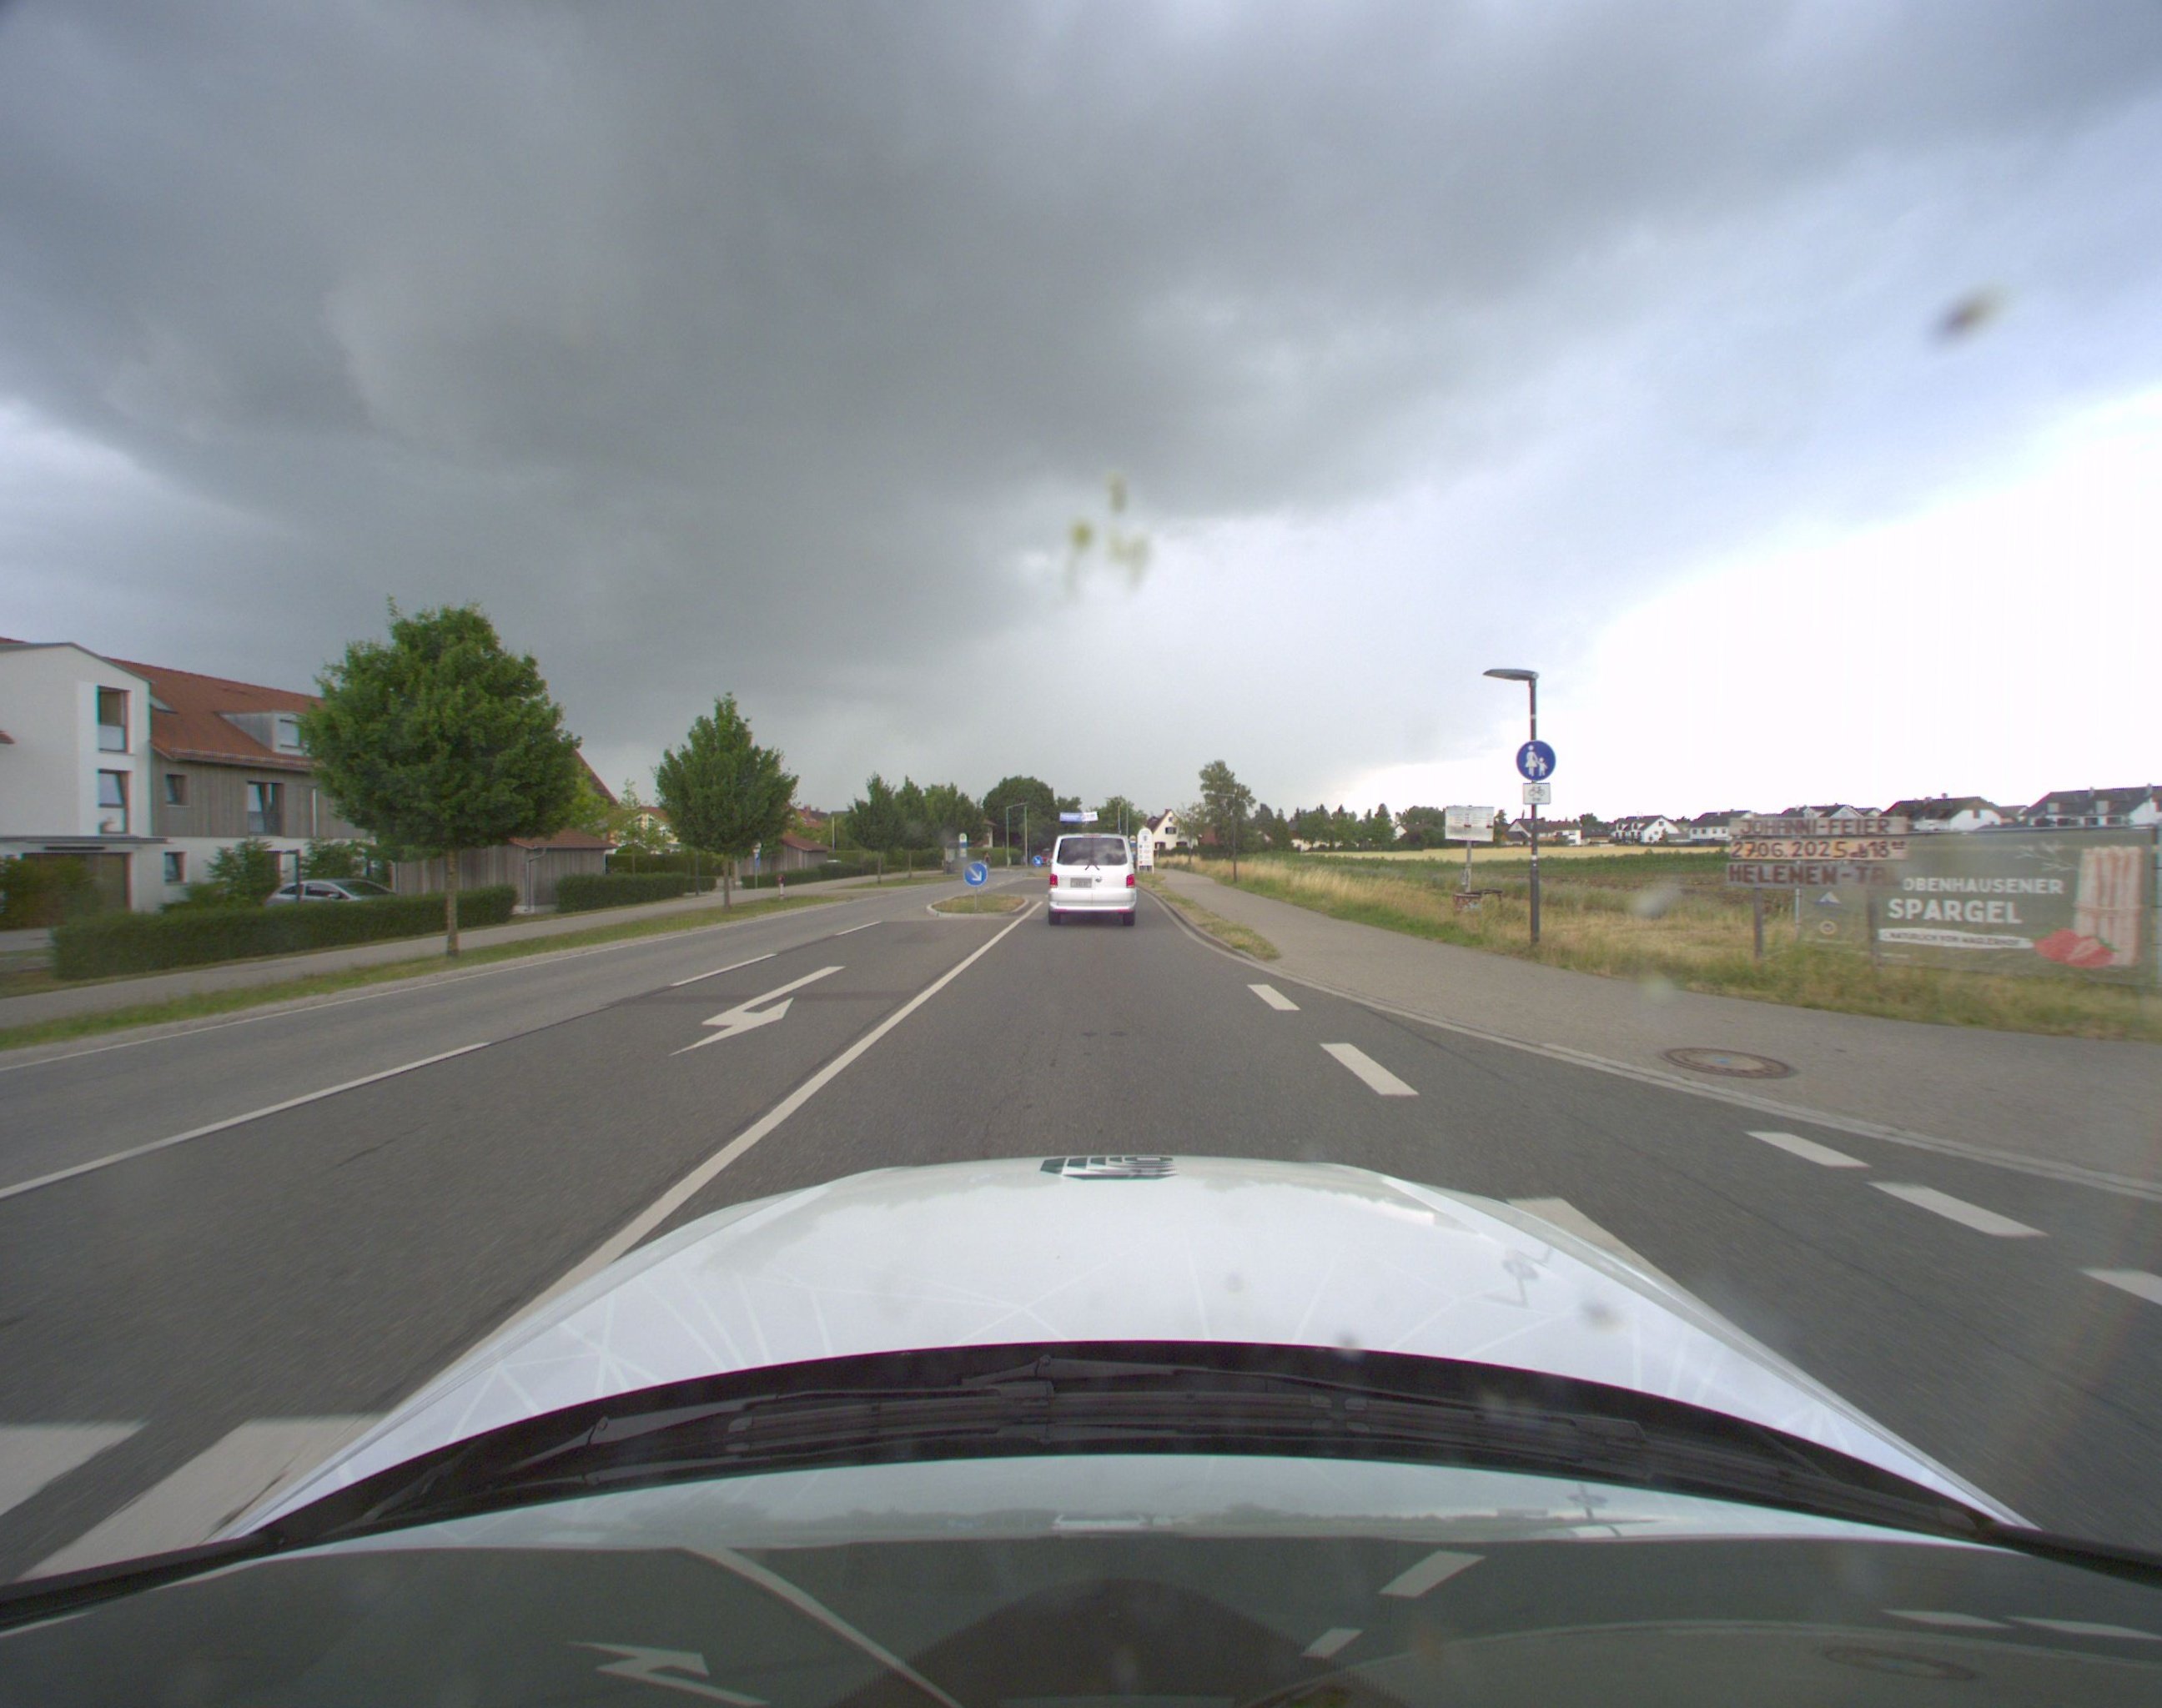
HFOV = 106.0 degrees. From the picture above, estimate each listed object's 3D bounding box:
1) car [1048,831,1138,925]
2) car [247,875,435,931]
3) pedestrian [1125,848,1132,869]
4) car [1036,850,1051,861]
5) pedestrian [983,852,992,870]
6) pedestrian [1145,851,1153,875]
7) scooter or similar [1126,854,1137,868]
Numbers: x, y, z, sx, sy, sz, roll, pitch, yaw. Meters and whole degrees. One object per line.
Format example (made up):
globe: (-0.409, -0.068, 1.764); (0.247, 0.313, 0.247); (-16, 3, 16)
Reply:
car: (0.230, 0.467, 18.499); (1.820, 1.913, 3.999); (0, 0, 0)
car: (-22.616, 1.467, 24.996); (3.971, 1.556, 2.001); (0, 0, 2)
pedestrian: (3.953, 0.387, 67.492); (0.483, 1.732, 0.642); (-3, 0, 0)
car: (-5.042, 0.206, 110.011); (1.648, 1.429, 3.603); (-3, 0, 1)
pedestrian: (-7.971, 0.624, 69.705); (0.621, 1.525, 0.680); (-3, 0, 1)
pedestrian: (5.081, 0.666, 60.974); (0.483, 1.732, 0.643); (-3, 0, 3)
scooter or similar: (4.170, 0.552, 67.357); (0.845, 1.103, 1.094); (-3, 0, 1)
